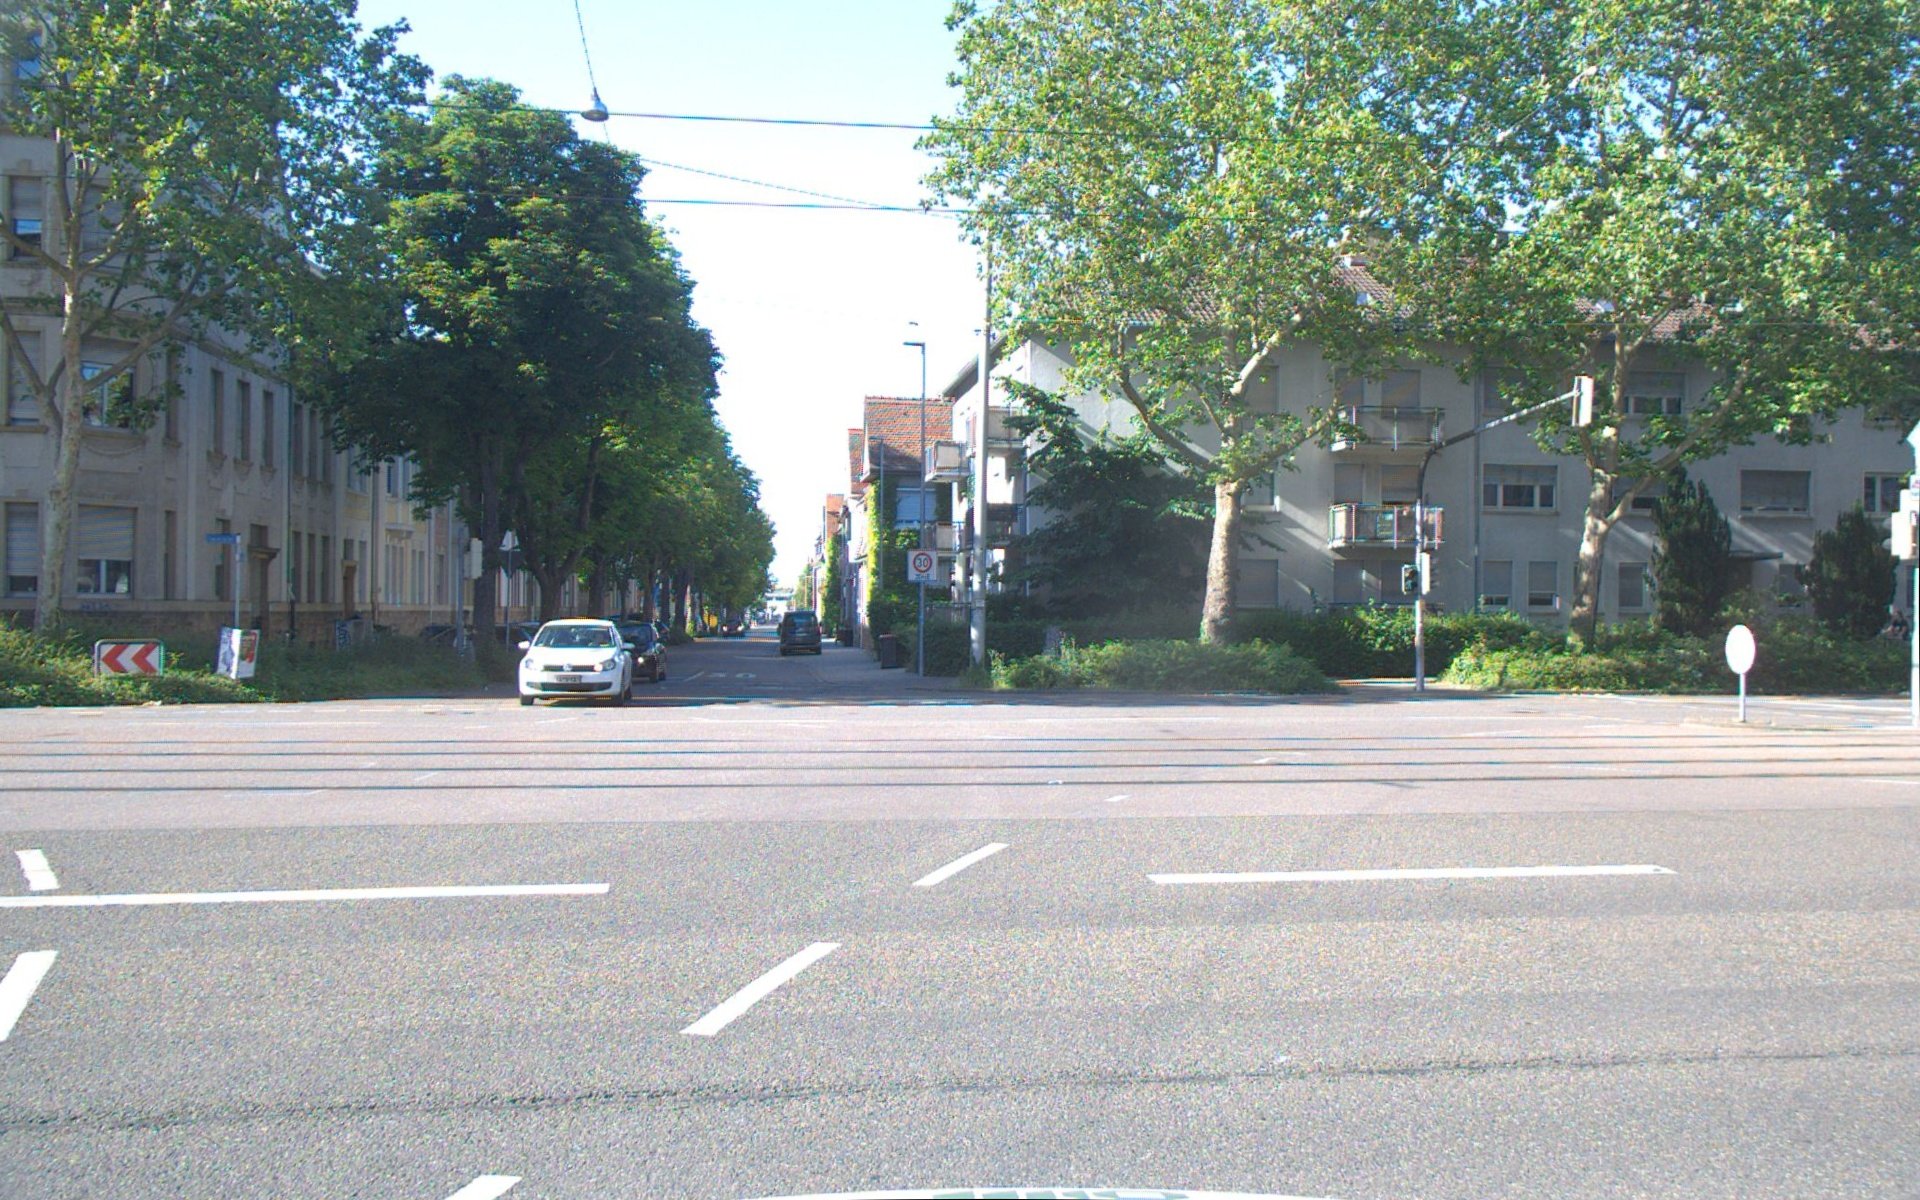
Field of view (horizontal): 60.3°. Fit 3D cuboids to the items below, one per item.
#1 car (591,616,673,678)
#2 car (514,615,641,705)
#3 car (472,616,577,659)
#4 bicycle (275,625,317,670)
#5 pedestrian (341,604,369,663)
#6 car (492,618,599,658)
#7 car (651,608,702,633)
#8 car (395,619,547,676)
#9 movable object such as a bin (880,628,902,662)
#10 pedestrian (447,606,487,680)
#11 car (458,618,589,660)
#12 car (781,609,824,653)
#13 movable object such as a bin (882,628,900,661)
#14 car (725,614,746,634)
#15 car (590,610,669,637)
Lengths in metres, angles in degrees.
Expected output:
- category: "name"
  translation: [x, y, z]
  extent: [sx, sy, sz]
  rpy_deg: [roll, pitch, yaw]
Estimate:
- category: "car"
  translation: [-8.198, 1.139, 41.618]
  extent: [1.628, 1.490, 3.804]
  rpy_deg: [0, -1, -5]
- category: "car"
  translation: [-6.719, 1.045, 29.425]
  extent: [1.772, 1.484, 3.993]
  rpy_deg: [0, -2, -7]
- category: "car"
  translation: [-15.557, 1.347, 59.210]
  extent: [3.366, 1.477, 1.701]
  rpy_deg: [1, -2, -4]
- category: "bicycle"
  translation: [-18.632, 1.319, 46.442]
  extent: [0.504, 1.174, 1.980]
  rpy_deg: [2, 0, -6]
- category: "pedestrian"
  translation: [-17.761, 0.980, 48.530]
  extent: [0.450, 1.687, 0.895]
  rpy_deg: [0, -1, 2]
- category: "car"
  translation: [-16.680, 1.534, 66.684]
  extent: [3.909, 1.534, 1.720]
  rpy_deg: [-1, -1, -5]
- category: "car"
  translation: [-22.624, 1.668, 132.199]
  extent: [3.914, 1.791, 1.793]
  rpy_deg: [3, -2, -10]
- category: "car"
  translation: [-13.531, 1.292, 45.923]
  extent: [3.808, 1.502, 1.613]
  rpy_deg: [-1, -1, -7]
- category: "movable object such as a bin"
  translation: [-2.247, 1.458, 53.857]
  extent: [0.586, 1.062, 0.706]
  rpy_deg: [-3, 0, -9]
- category: "pedestrian"
  translation: [-11.518, 0.988, 38.647]
  extent: [0.679, 1.711, 0.680]
  rpy_deg: [0, -1, 4]
- category: "car"
  translation: [-15.033, 1.359, 57.103]
  extent: [4.131, 1.372, 1.700]
  rpy_deg: [1, -2, -7]
- category: "car"
  translation: [-7.334, 1.412, 76.931]
  extent: [1.829, 1.949, 4.776]
  rpy_deg: [2, -1, -6]
- category: "movable object such as a bin"
  translation: [-2.295, 1.464, 54.714]
  extent: [0.474, 1.062, 0.655]
  rpy_deg: [-3, 0, -9]
- category: "car"
  translation: [-18.238, 1.948, 134.263]
  extent: [1.610, 1.535, 3.697]
  rpy_deg: [-1, 0, -7]
- category: "car"
  translation: [-19.430, 1.375, 97.349]
  extent: [4.446, 1.529, 1.888]
  rpy_deg: [1, -1, -8]
